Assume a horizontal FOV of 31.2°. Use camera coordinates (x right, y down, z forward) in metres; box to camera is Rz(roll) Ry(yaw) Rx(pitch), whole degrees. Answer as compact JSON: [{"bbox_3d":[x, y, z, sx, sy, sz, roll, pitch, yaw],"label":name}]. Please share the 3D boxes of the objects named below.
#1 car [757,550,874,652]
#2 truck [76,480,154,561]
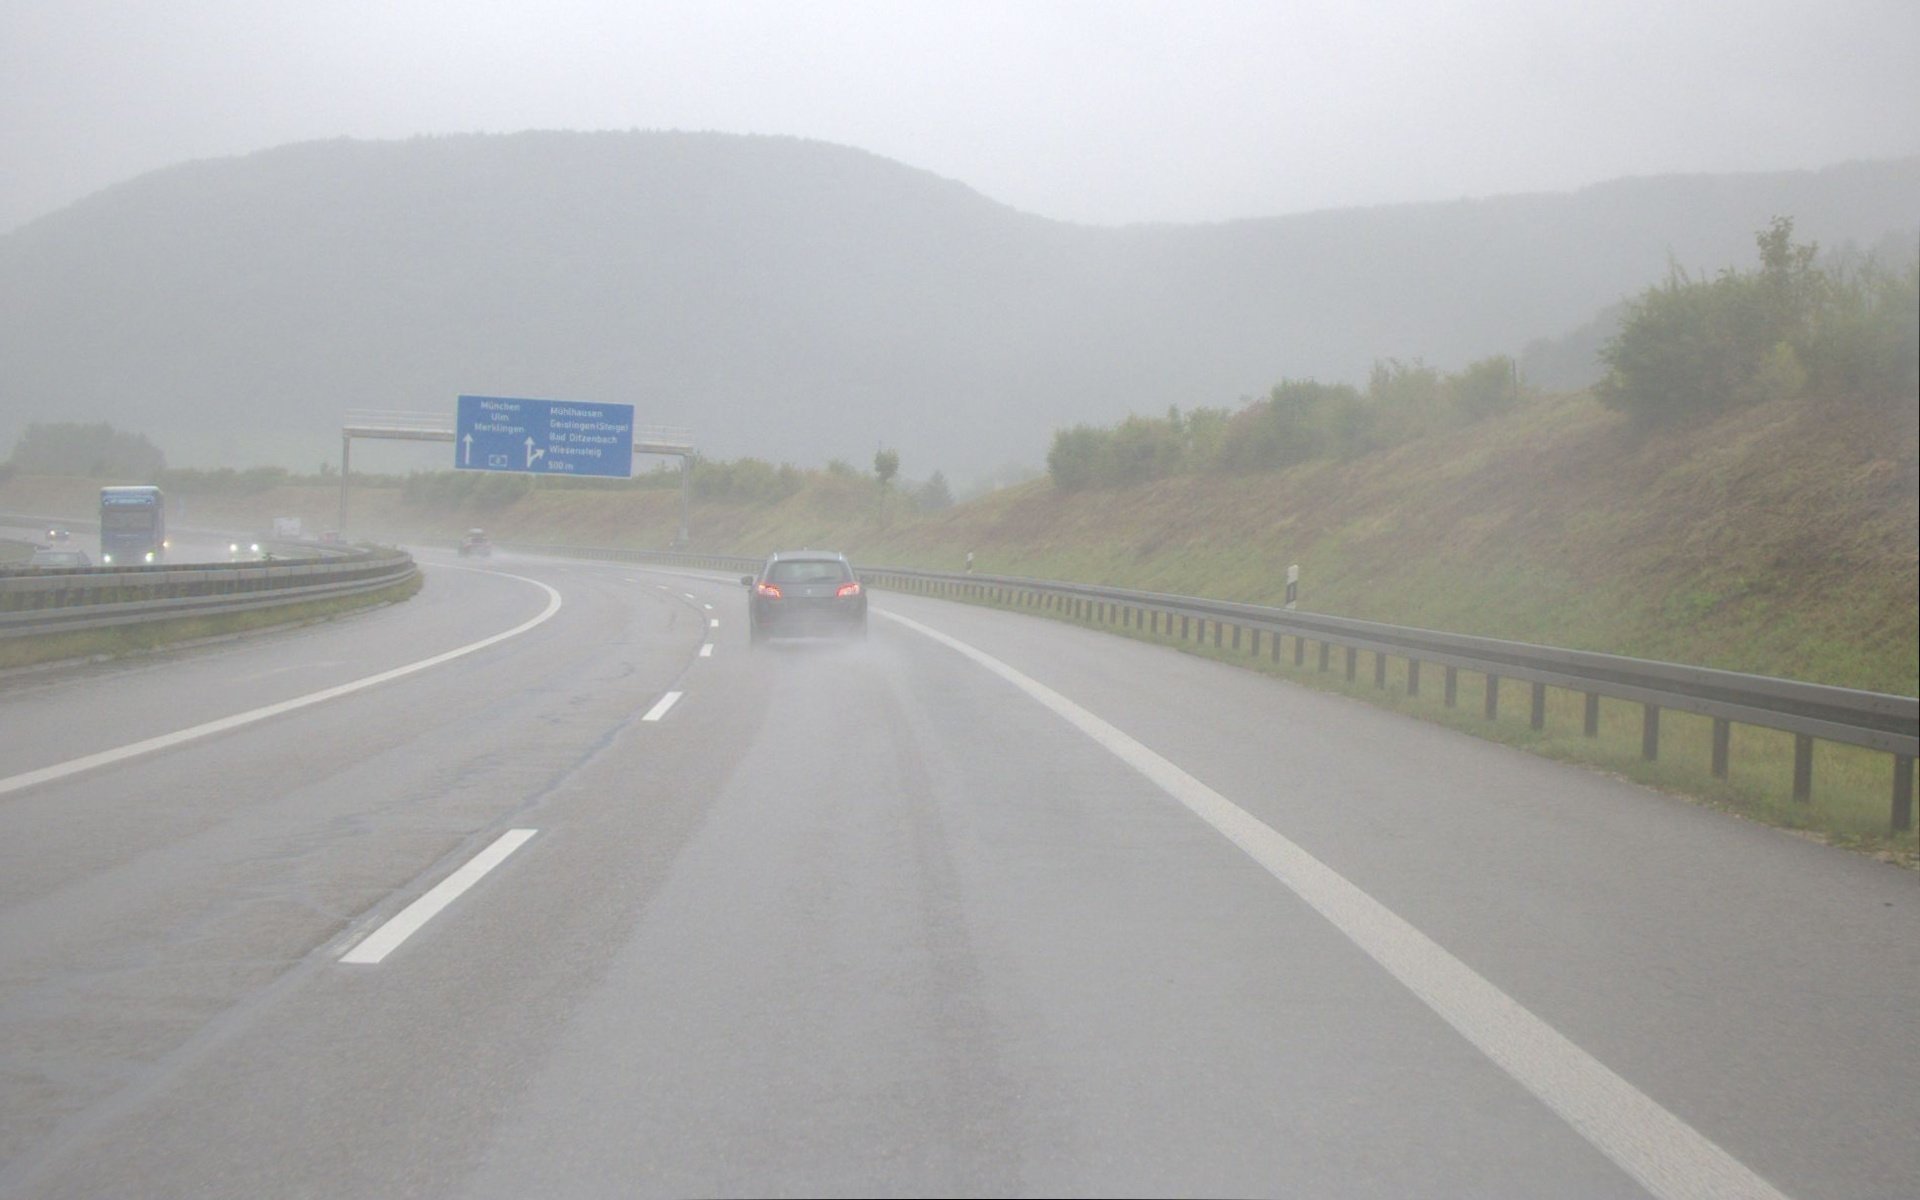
[{"bbox_3d":[-2.183,-0.013,52.566,1.679,1.467,3.815,1,1,-1],"label":"car"},{"bbox_3d":[-39.088,-3.664,159.179,2.780,3.670,6.209,0,1,-7],"label":"truck"}]
